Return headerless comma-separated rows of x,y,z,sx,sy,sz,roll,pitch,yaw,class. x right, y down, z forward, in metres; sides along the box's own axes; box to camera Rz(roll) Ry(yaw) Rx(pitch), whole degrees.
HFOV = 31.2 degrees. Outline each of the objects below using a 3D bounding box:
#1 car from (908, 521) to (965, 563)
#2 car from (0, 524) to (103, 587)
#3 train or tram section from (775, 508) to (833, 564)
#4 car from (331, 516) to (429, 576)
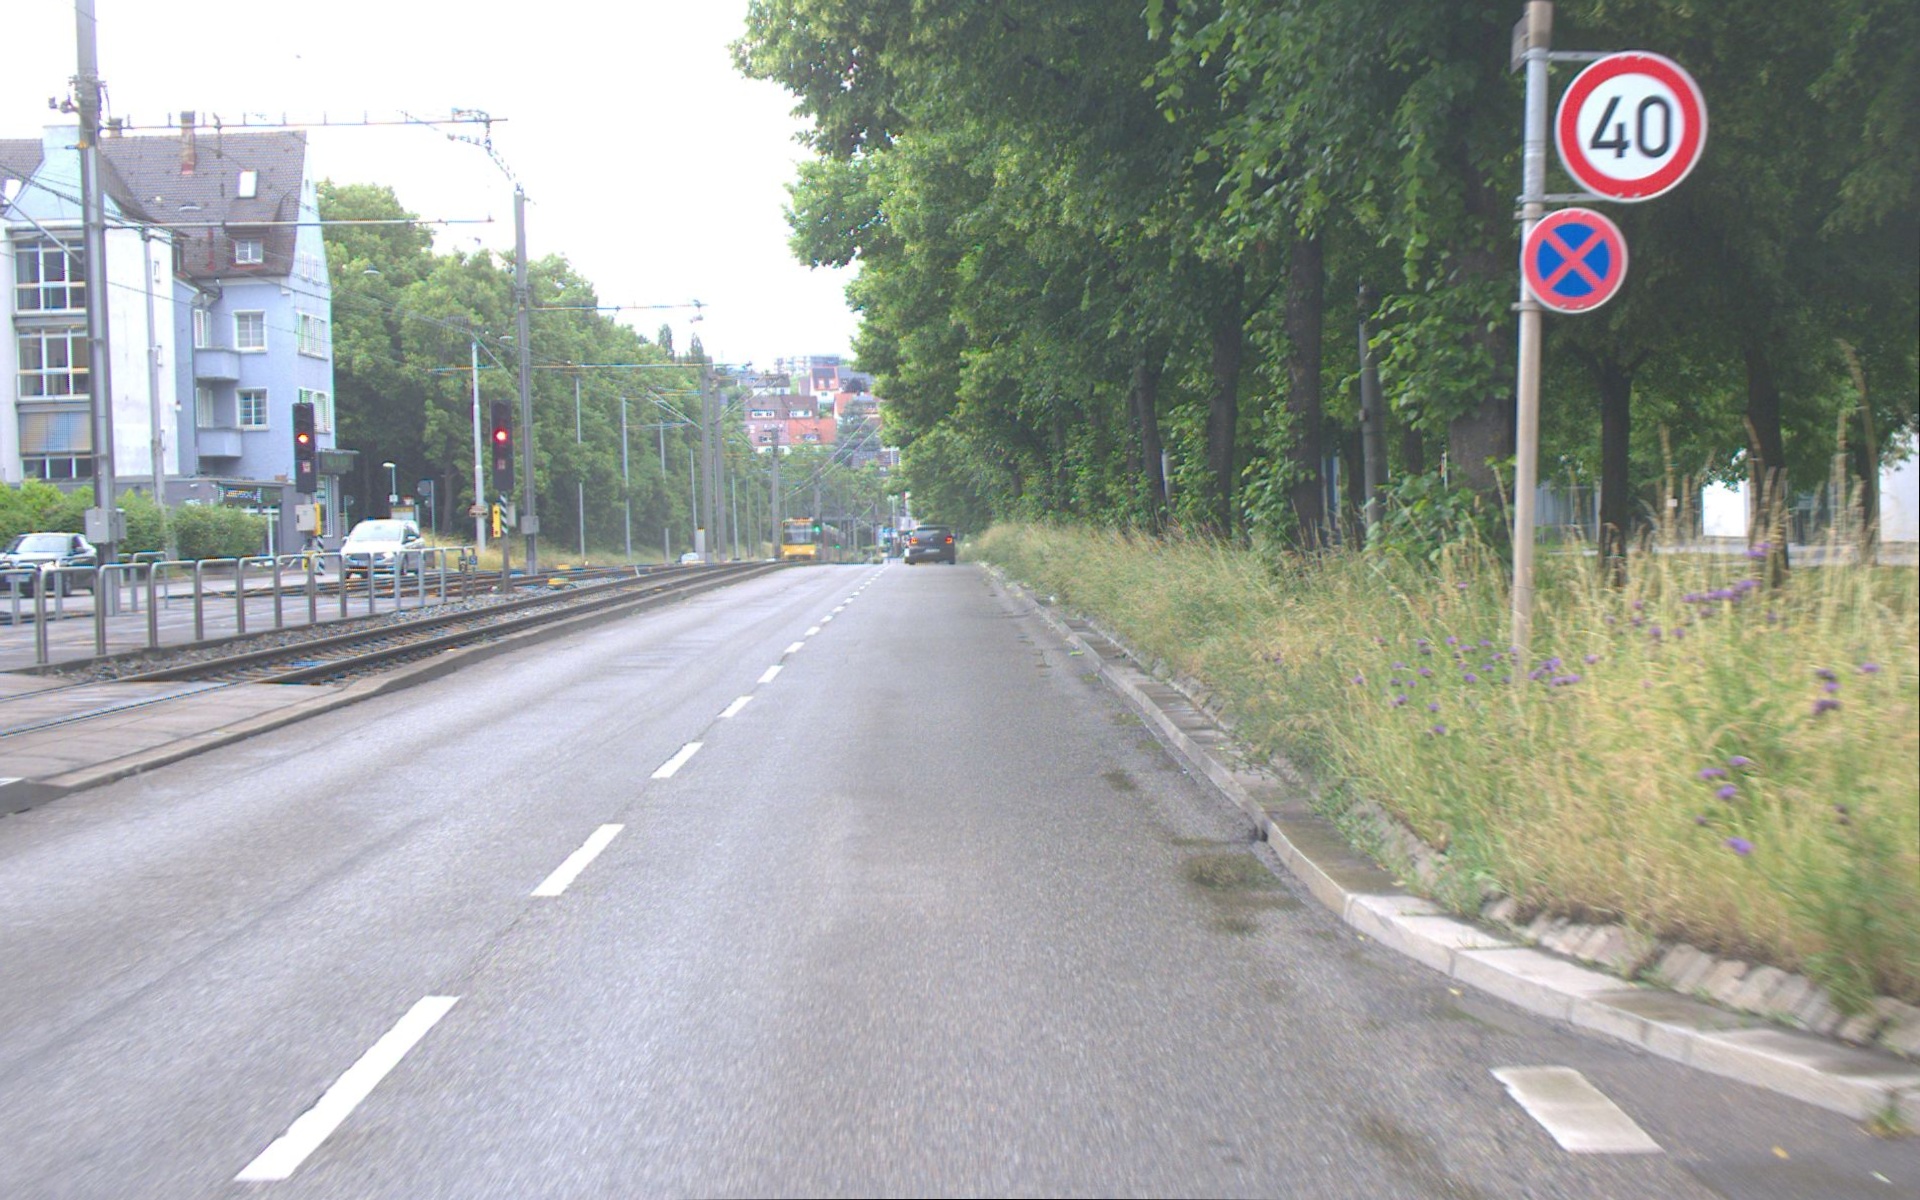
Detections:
-0.836,-2.097,124.285,1.982,1.436,4.474,-1,1,0,car
-20.483,-0.980,76.380,1.798,1.342,4.259,-1,1,0,car
-11.352,-4.619,251.840,3.214,3.783,14.789,-1,0,1,train or tram section
-16.705,-1.554,99.209,1.902,1.639,4.884,-1,1,1,car
